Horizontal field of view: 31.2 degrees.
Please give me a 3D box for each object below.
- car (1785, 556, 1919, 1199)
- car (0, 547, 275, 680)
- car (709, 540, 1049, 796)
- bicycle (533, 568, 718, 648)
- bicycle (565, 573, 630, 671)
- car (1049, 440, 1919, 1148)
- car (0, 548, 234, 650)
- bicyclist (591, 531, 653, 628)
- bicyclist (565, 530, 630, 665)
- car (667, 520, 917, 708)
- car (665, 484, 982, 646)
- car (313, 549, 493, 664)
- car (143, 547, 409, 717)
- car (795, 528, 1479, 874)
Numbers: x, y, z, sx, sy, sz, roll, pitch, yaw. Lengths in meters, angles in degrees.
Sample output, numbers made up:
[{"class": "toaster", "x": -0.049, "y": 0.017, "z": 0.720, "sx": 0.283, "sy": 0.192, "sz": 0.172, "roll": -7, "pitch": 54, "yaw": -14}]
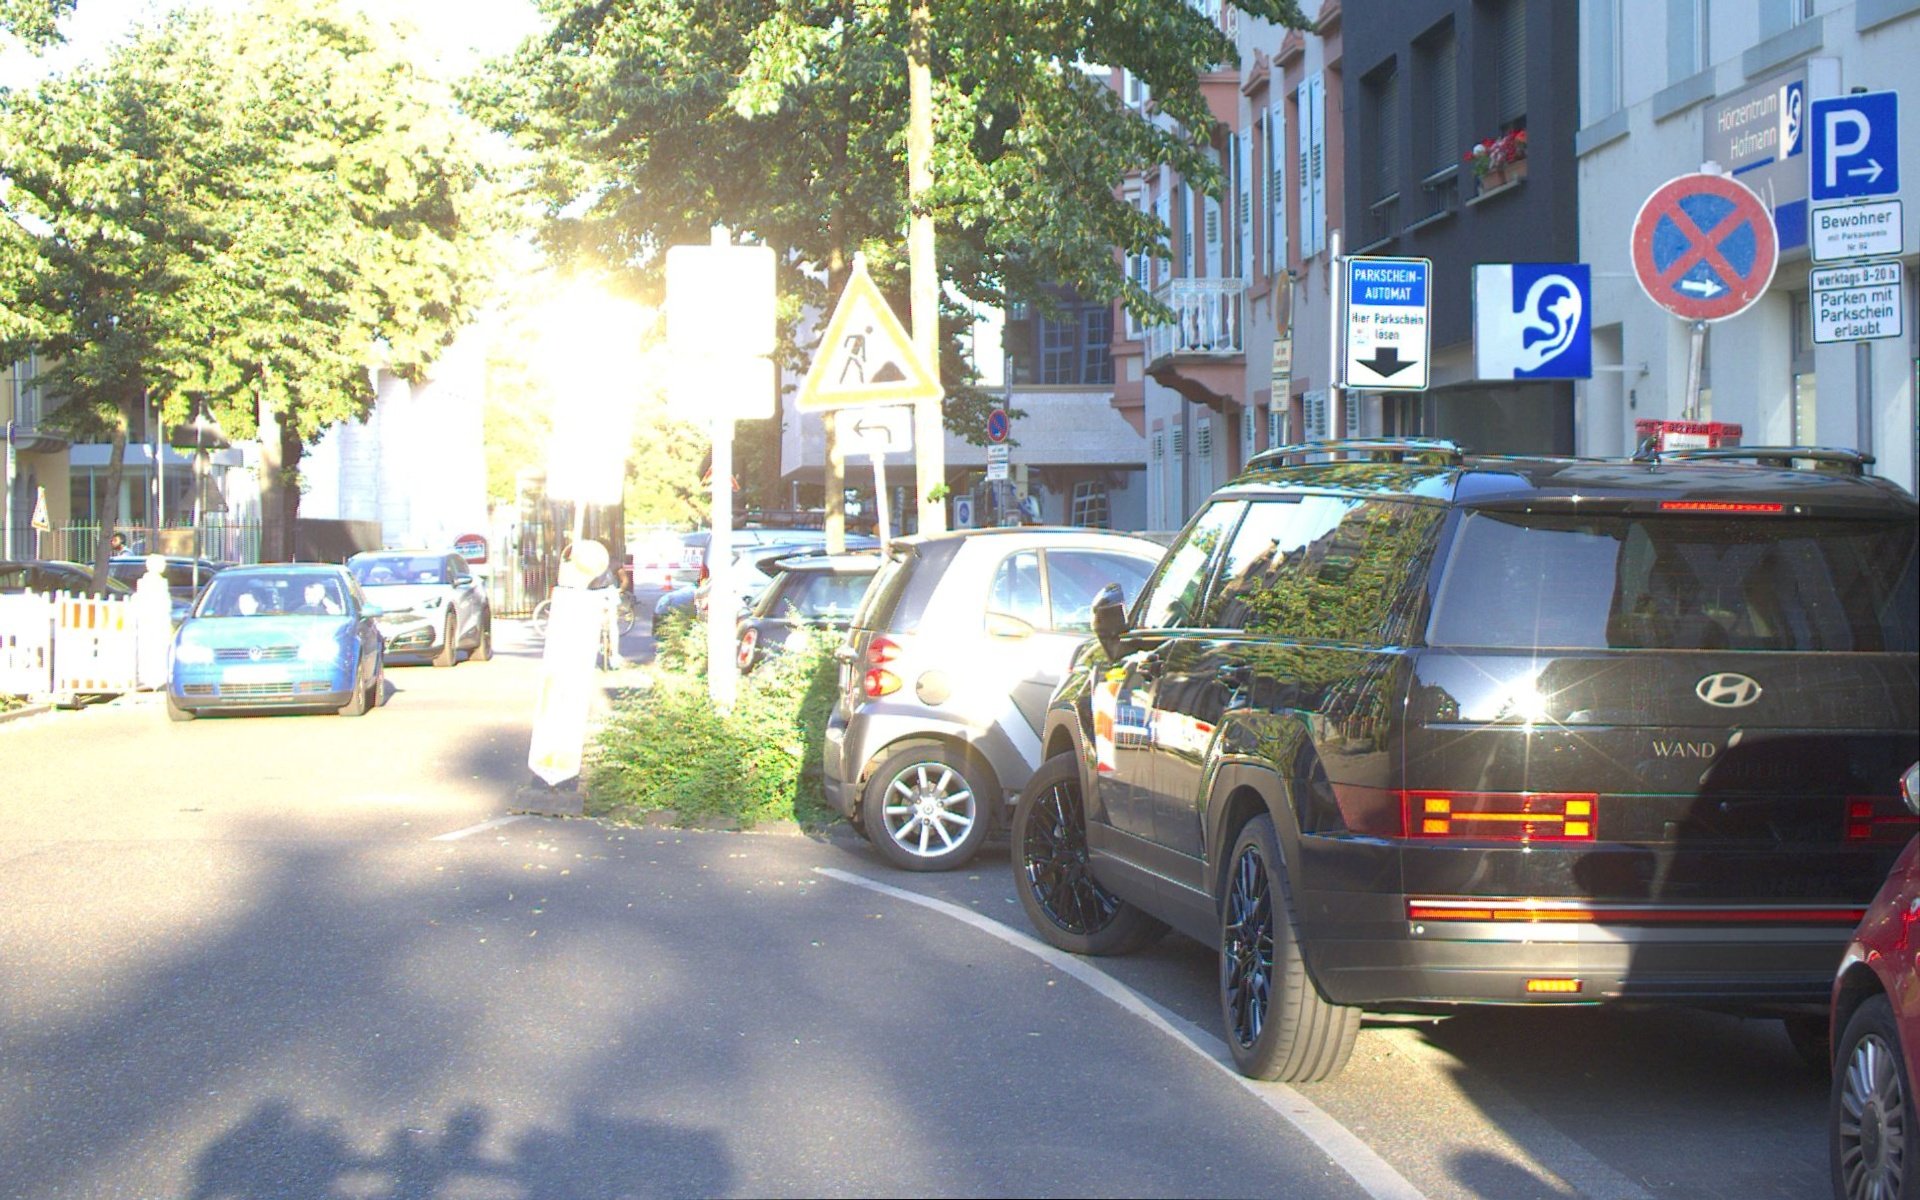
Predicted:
[{"class": "car", "x": 2.649, "y": 0.674, "z": 5.829, "sx": 1.587, "sy": 1.478, "sz": 3.267, "roll": 1, "pitch": 1, "yaw": -2}, {"class": "car", "x": -10.081, "y": 0.134, "z": 39.414, "sx": 4.102, "sy": 1.460, "sz": 1.890, "roll": 1, "pitch": 0, "yaw": -2}, {"class": "car", "x": -0.690, "y": 0.426, "z": 24.810, "sx": 1.993, "sy": 1.662, "sz": 4.510, "roll": 1, "pitch": 1, "yaw": -7}, {"class": "bicycle", "x": -5.904, "y": 0.128, "z": 60.603, "sx": 3.176, "sy": 1.346, "sz": 0.847, "roll": -1, "pitch": 1, "yaw": -10}, {"class": "bicycle", "x": -4.662, "y": 0.271, "z": 44.143, "sx": 0.780, "sy": 1.200, "sz": 2.021, "roll": -1, "pitch": 1, "yaw": -6}, {"class": "car", "x": 1.510, "y": 0.448, "z": 10.475, "sx": 1.824, "sy": 1.689, "sz": 4.370, "roll": 1, "pitch": 1, "yaw": -7}, {"class": "car", "x": -13.078, "y": -0.026, "z": 51.322, "sx": 4.102, "sy": 1.460, "sz": 1.890, "roll": 1, "pitch": 0, "yaw": -2}, {"class": "bicyclist", "x": -5.961, "y": -0.365, "z": 60.627, "sx": 1.004, "sy": 1.690, "sz": 0.783, "roll": -1, "pitch": 1, "yaw": -9}, {"class": "bicyclist", "x": -4.657, "y": -0.038, "z": 44.108, "sx": 0.780, "sy": 1.690, "sz": 1.007, "roll": -1, "pitch": 1, "yaw": -6}, {"class": "car", "x": -1.932, "y": 0.123, "z": 38.010, "sx": 2.264, "sy": 1.760, "sz": 4.510, "roll": 5, "pitch": 0, "yaw": -7}, {"class": "car", "x": -1.715, "y": -0.463, "z": 44.441, "sx": 3.987, "sy": 2.007, "sz": 2.000, "roll": 0, "pitch": 1, "yaw": 0}, {"class": "car", "x": -7.565, "y": 0.062, "z": 47.033, "sx": 1.884, "sy": 1.475, "sz": 4.459, "roll": 1, "pitch": 1, "yaw": -2}, {"class": "car", "x": -6.327, "y": 0.248, "z": 32.215, "sx": 1.838, "sy": 1.436, "sz": 4.332, "roll": -1, "pitch": 1, "yaw": -3}, {"class": "car", "x": 0.778, "y": 0.454, "z": 16.113, "sx": 2.968, "sy": 1.531, "sz": 1.434, "roll": 1, "pitch": 0, "yaw": -8}]
